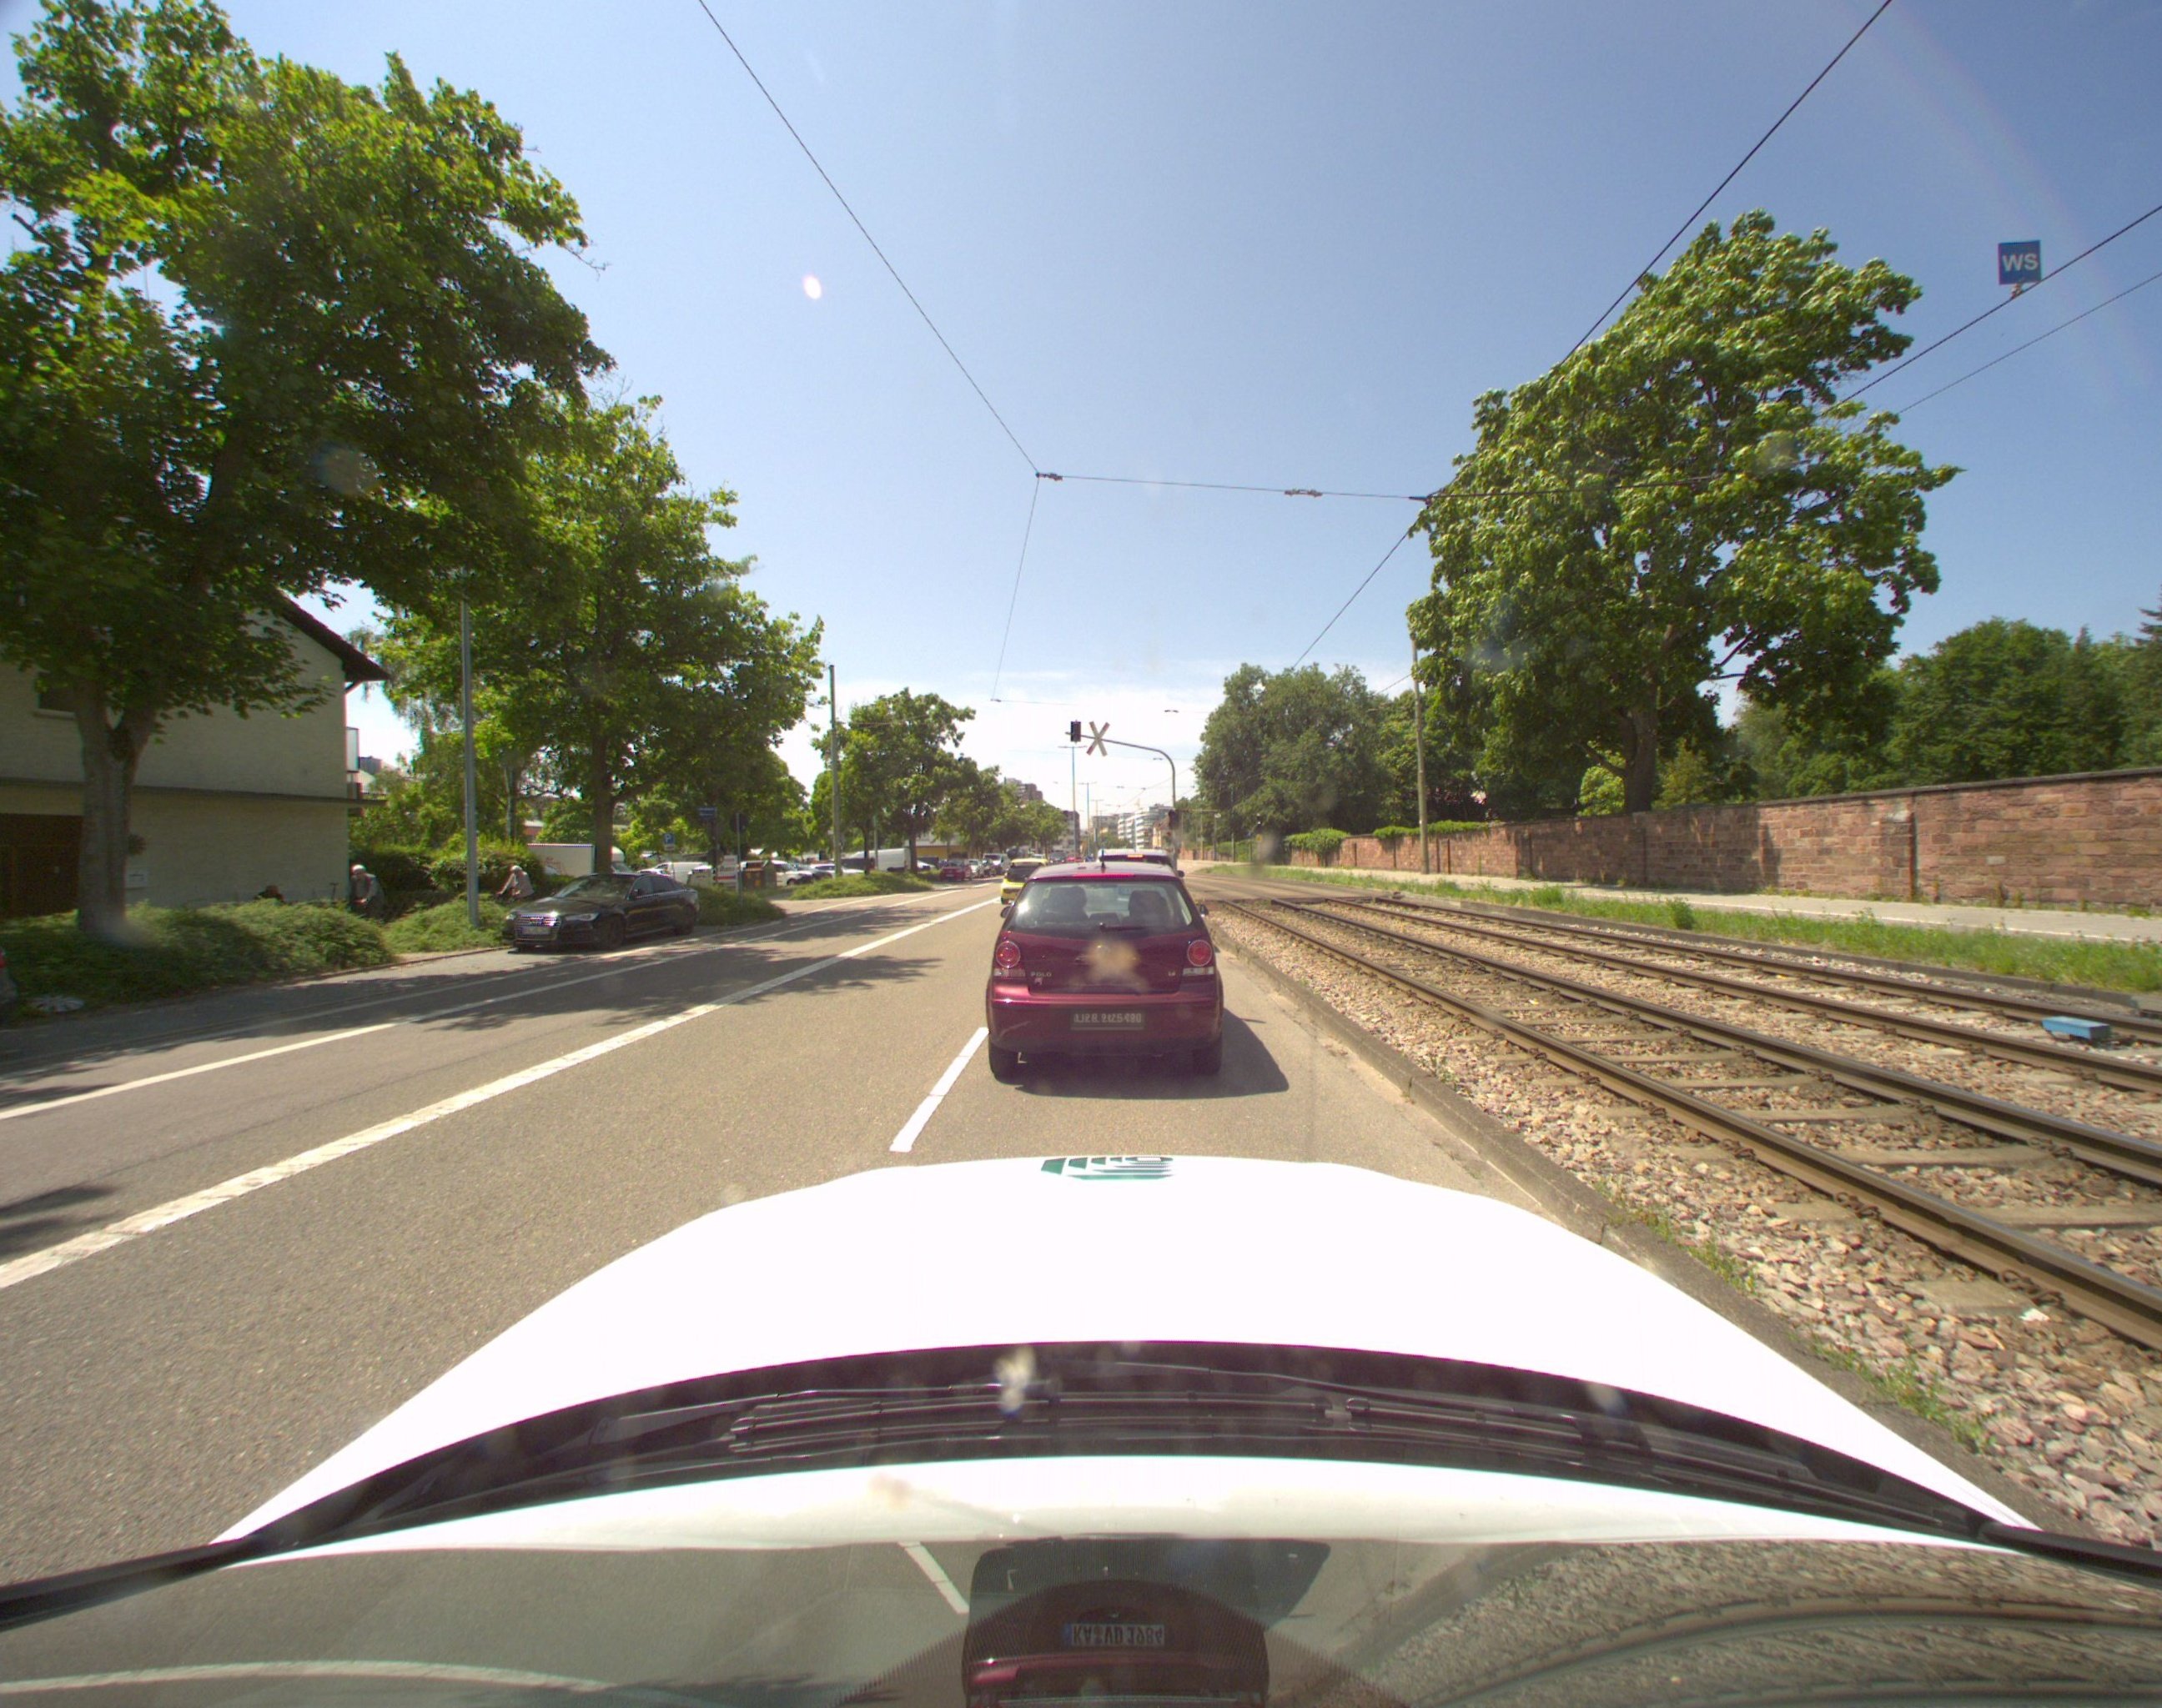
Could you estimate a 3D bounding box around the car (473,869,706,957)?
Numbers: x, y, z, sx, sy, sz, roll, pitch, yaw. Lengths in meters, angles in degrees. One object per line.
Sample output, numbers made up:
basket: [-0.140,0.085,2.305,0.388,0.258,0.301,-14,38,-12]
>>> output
car: [-9.788,1.087,16.790,1.888,1.456,4.809,0,0,0]

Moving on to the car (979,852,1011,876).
car: [-7.504,0.853,71.585,1.854,1.937,4.811,2,0,4]

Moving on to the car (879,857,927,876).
car: [-17.461,1.229,80.136,4.195,1.765,1.857,-2,0,0]

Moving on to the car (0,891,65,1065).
car: [-10.221,1.089,5.416,1.670,1.486,4.130,0,0,2]

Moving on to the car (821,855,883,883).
car: [-17.912,1.162,63.794,4.195,1.995,1.857,-2,0,0]

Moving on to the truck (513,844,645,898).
truck: [-31.799,1.066,51.723,6.954,3.227,2.150,-1,0,0]

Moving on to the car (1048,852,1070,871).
car: [-2.336,0.819,87.395,1.911,1.910,4.573,-3,0,2]

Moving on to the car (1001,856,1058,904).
car: [-1.632,0.808,26.649,1.545,1.448,3.413,0,0,2]

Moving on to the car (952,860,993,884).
car: [-8.112,1.301,61.332,1.710,1.426,4.781,-7,0,7]

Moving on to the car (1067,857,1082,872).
car: [-0.816,1.448,111.950,1.892,1.926,4.820,-3,0,1]

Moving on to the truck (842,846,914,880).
truck: [-17.792,0.816,71.478,5.555,2.759,2.434,-2,0,3]

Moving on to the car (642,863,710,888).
car: [-30.692,1.627,61.807,4.112,1.820,1.971,-1,0,1]

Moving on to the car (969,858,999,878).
car: [-7.858,1.090,66.229,1.607,1.484,3.789,2,0,4]

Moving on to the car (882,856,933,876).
car: [-17.585,1.201,82.482,4.702,1.813,1.797,-2,0,0]

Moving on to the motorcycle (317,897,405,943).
motorcycle: [-14.803,1.343,16.778,0.524,0.825,1.372,1,0,3]

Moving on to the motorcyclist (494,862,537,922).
motorcyclist: [-14.509,0.960,20.894,0.584,1.503,0.663,1,0,3]

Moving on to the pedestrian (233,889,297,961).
pedestrian: [-17.958,1.546,17.922,0.789,1.510,0.610,-2,0,8]

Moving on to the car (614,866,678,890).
car: [-31.672,1.739,59.358,3.733,1.576,1.733,-1,0,1]

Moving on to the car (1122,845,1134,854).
car: [10.220,-0.923,177.088,1.914,1.910,4.566,-2,0,-3]

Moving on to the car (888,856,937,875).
car: [-17.475,1.191,84.676,4.702,1.813,1.797,-2,0,0]

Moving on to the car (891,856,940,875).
car: [-17.617,1.226,86.862,4.702,1.813,1.797,-2,0,0]

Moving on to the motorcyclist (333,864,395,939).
motorcyclist: [-14.794,0.968,16.815,0.584,1.503,0.726,1,0,3]

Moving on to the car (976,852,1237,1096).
car: [0.221,0.742,7.034,1.603,1.498,4.002,0,0,2]

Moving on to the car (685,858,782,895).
car: [-19.289,1.248,45.321,4.437,1.857,2.059,-2,0,-3]

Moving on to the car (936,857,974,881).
car: [-8.357,0.980,54.326,1.664,1.546,3.731,0,-1,4]

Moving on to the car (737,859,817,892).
car: [-18.629,1.324,49.973,4.247,1.835,1.675,-2,0,4]

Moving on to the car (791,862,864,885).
car: [-18.907,1.421,60.892,4.745,1.488,2.058,-2,0,0]

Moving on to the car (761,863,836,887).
car: [-18.378,1.338,53.125,4.185,1.403,2.079,-2,0,-2]

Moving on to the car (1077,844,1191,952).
car: [0.895,0.687,14.821,1.788,1.683,4.002,0,0,2]
